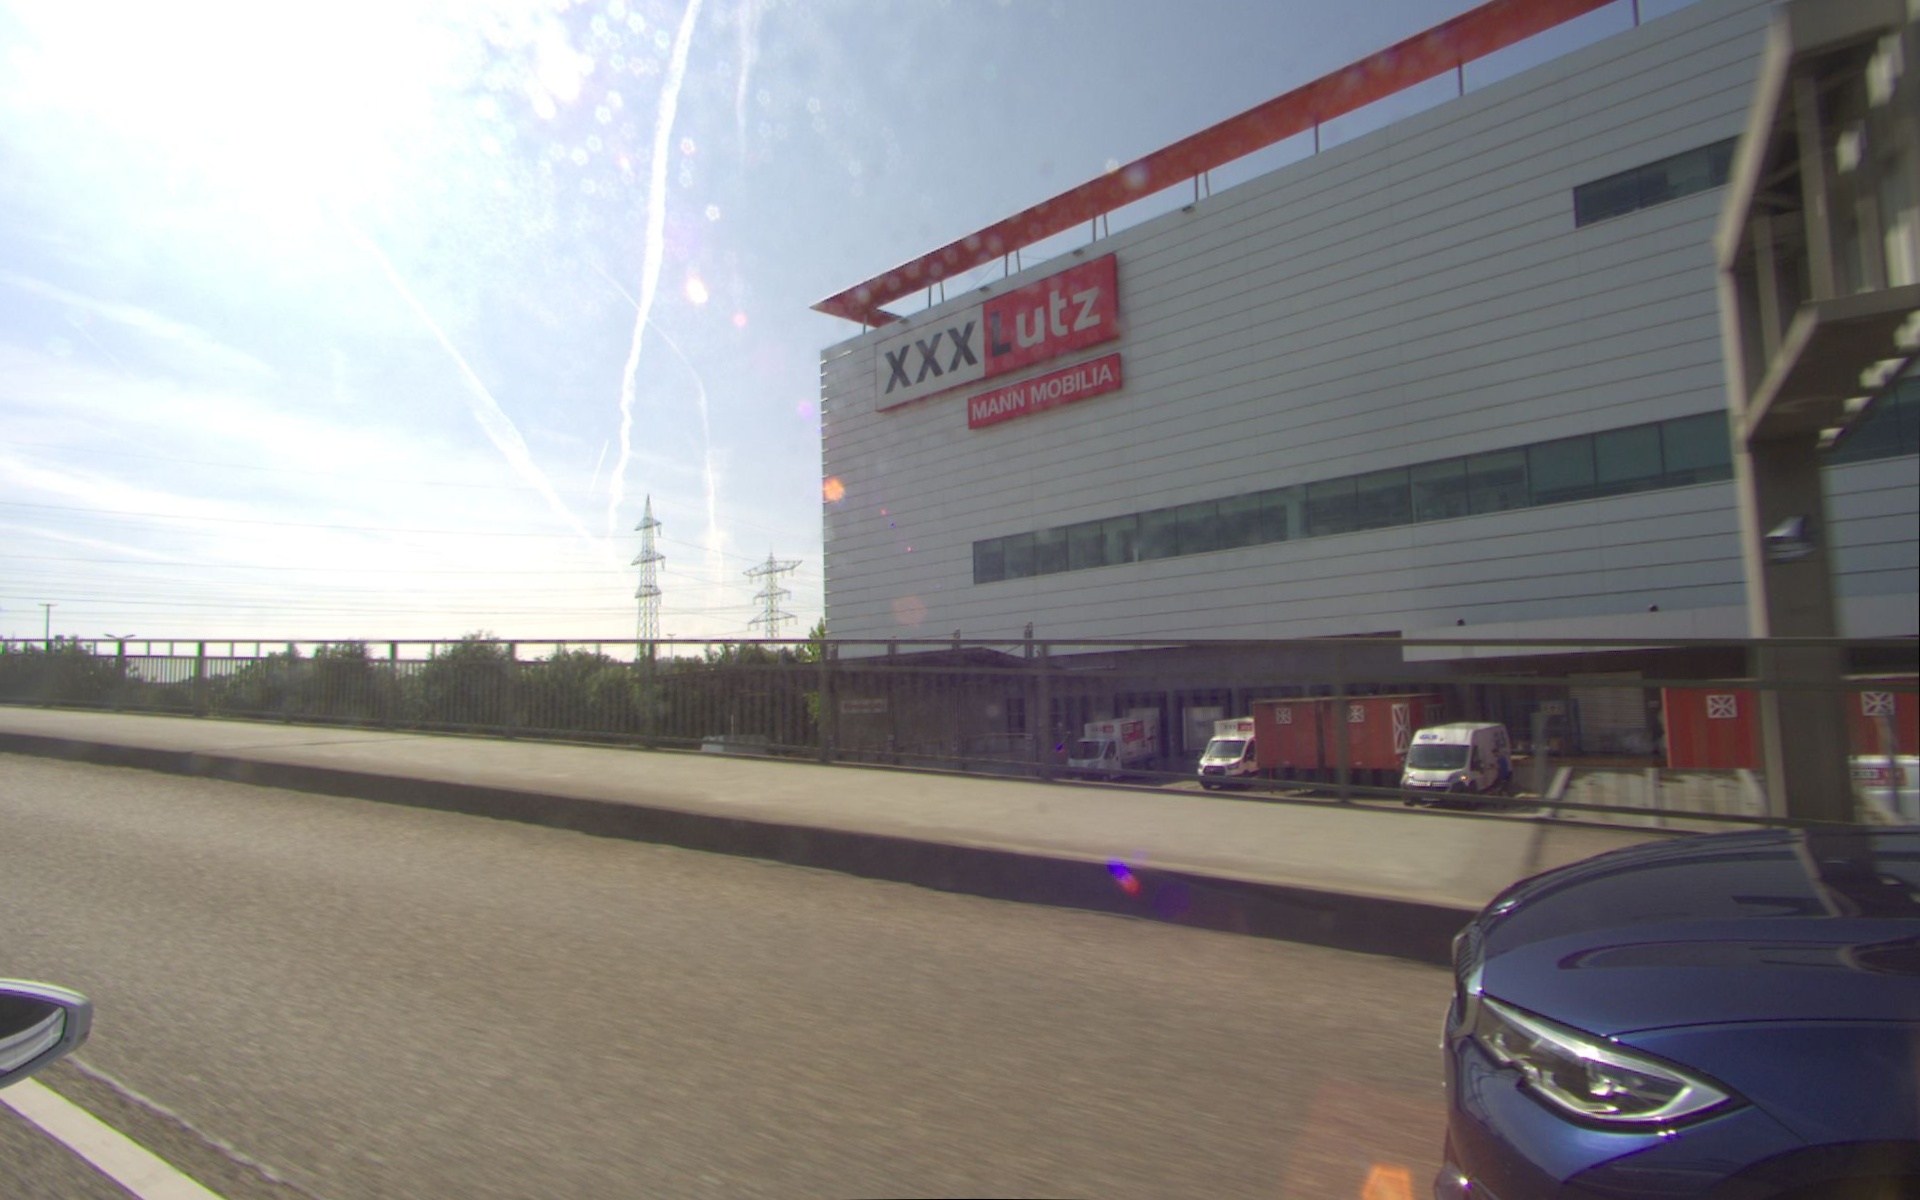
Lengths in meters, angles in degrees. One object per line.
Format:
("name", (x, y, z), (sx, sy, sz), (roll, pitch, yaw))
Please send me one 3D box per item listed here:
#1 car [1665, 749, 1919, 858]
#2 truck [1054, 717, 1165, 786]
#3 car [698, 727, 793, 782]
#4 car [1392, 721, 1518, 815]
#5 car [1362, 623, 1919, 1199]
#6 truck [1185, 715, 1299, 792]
("car", (19.399, 4.418, 22.122), (5.952, 2.028, 2.115), (-7, -6, 42))
("truck", (7.246, 7.185, 48.138), (2.112, 2.960, 5.961), (-7, -8, 44))
("car", (-12.608, 9.067, 59.309), (2.101, 2.960, 5.993), (-4, -7, 29))
("car", (16.263, 5.350, 32.711), (2.110, 2.650, 5.968), (-6, -8, 41))
("car", (3.097, 0.722, 1.311), (4.460, 1.500, 1.785), (-6, -7, 33))
("truck", (12.317, 6.560, 43.457), (2.112, 2.960, 5.961), (-7, -8, 44))
